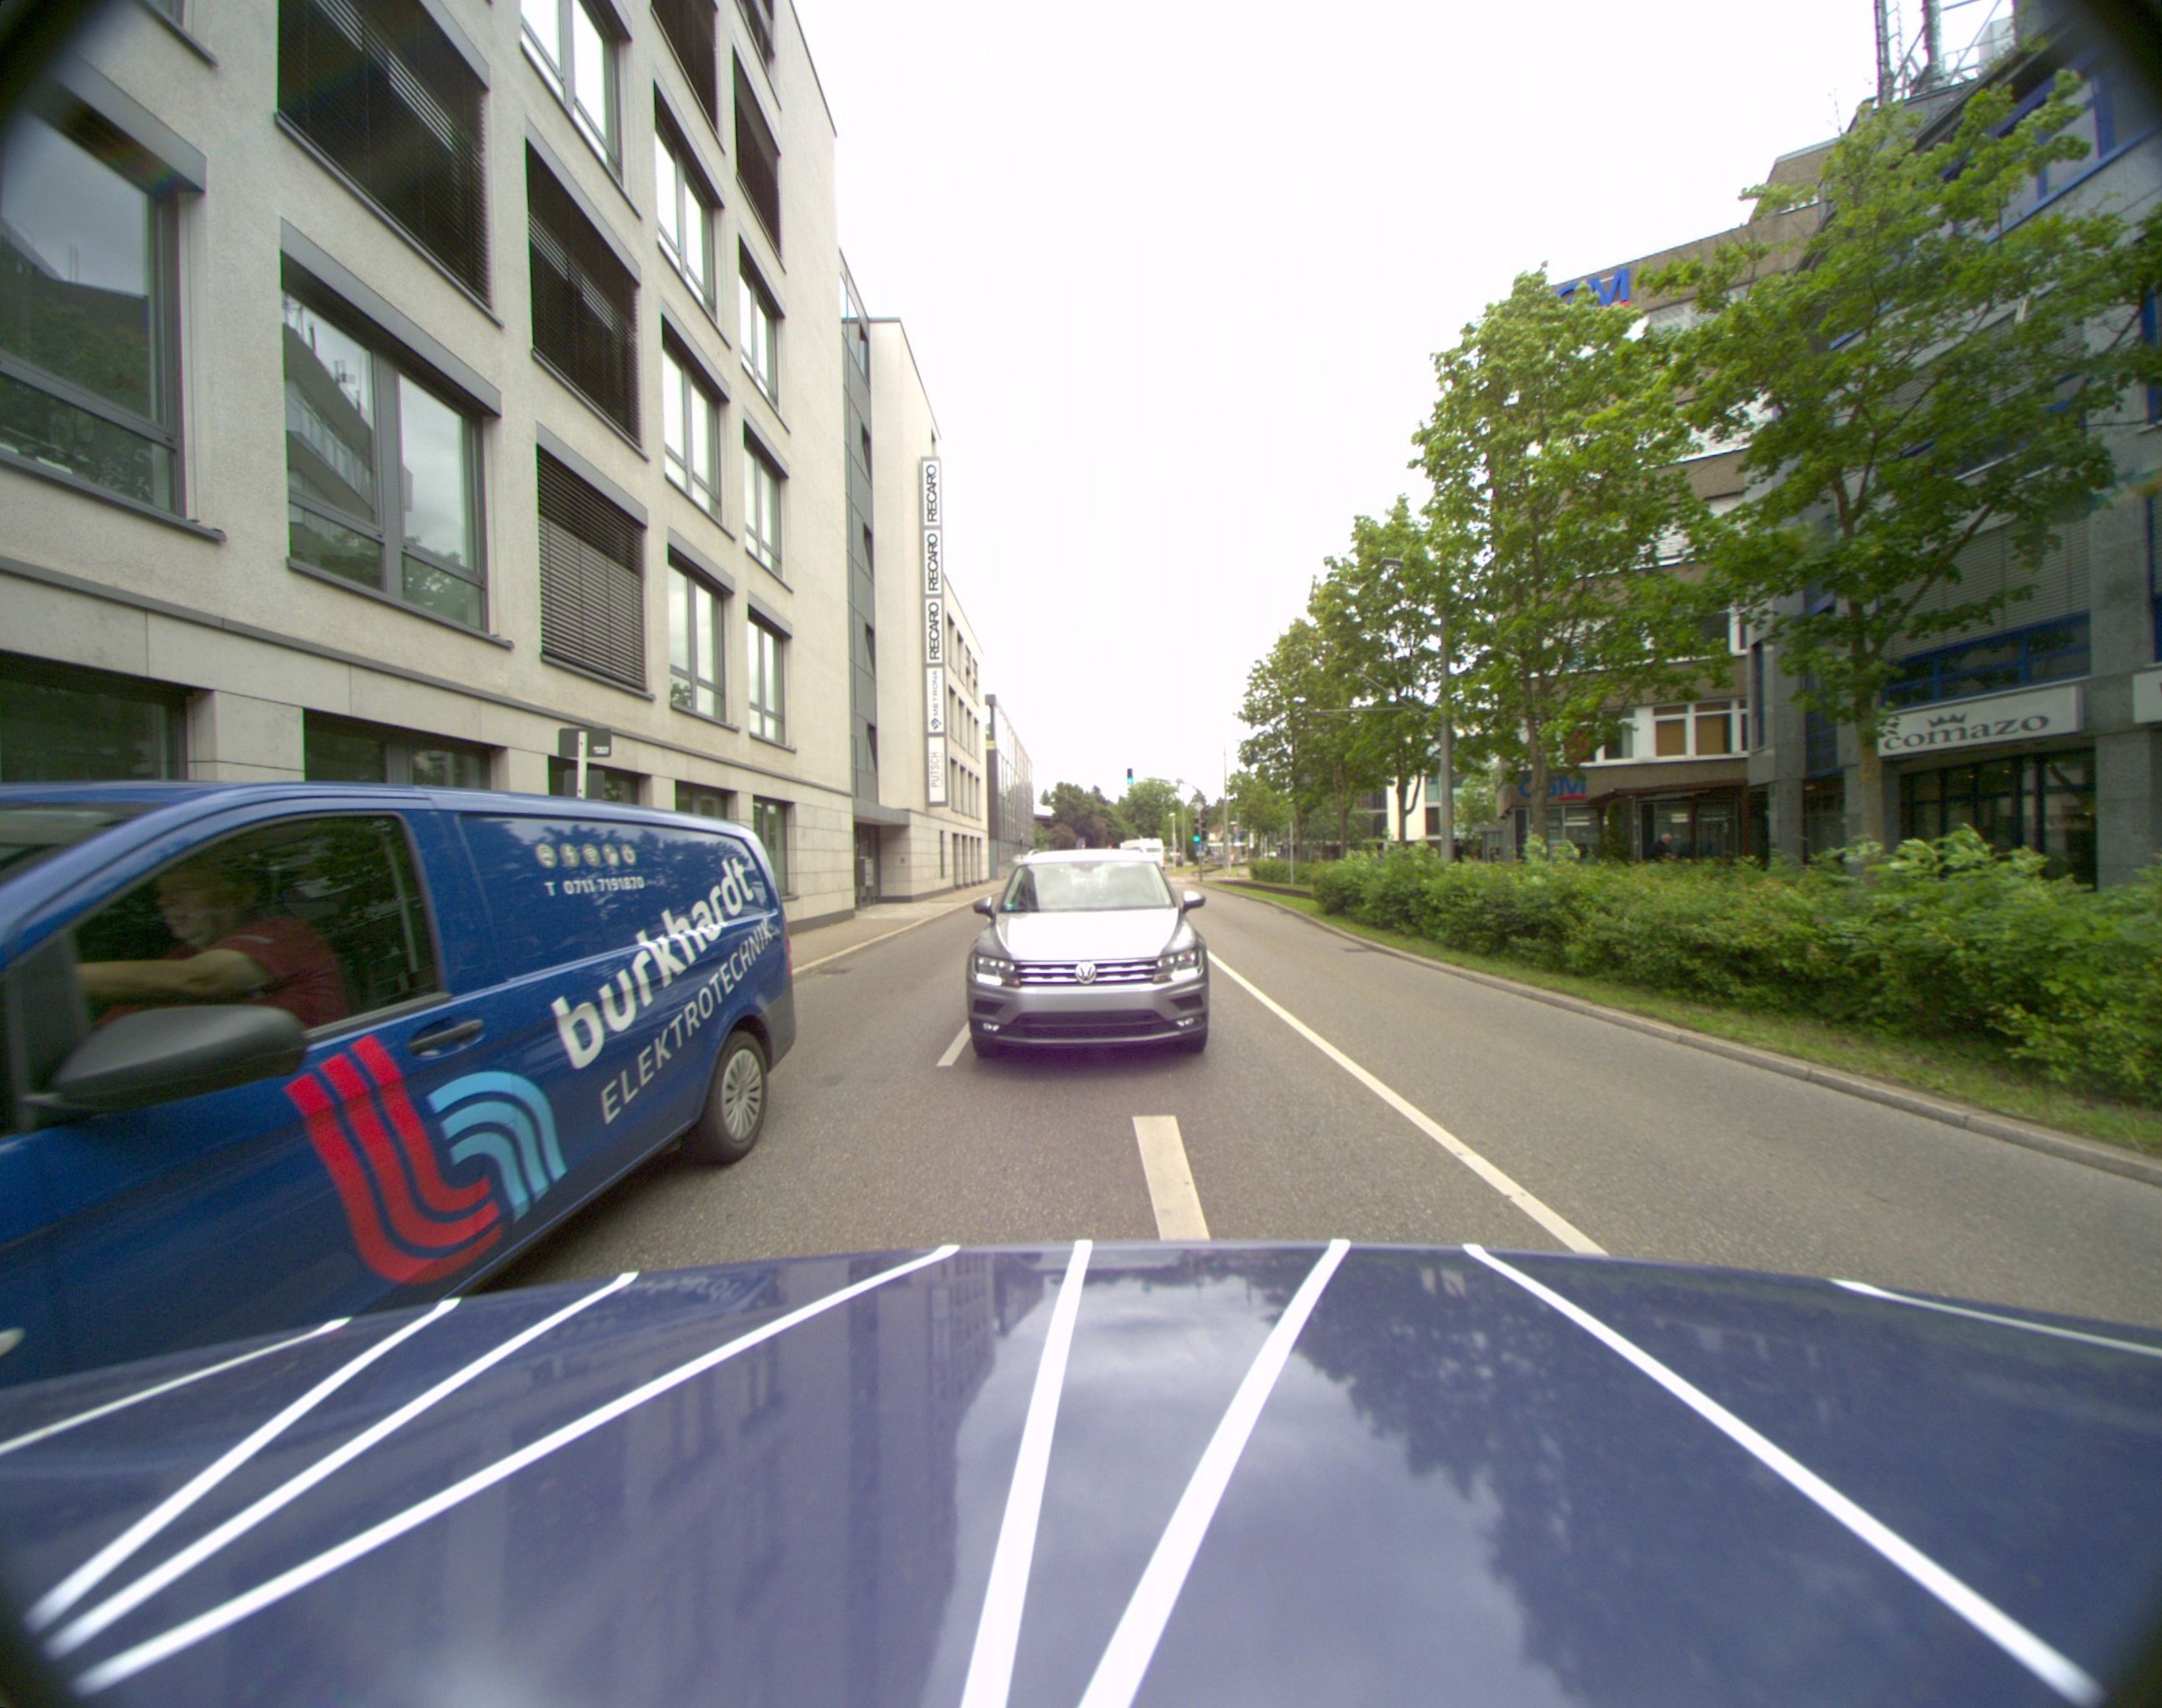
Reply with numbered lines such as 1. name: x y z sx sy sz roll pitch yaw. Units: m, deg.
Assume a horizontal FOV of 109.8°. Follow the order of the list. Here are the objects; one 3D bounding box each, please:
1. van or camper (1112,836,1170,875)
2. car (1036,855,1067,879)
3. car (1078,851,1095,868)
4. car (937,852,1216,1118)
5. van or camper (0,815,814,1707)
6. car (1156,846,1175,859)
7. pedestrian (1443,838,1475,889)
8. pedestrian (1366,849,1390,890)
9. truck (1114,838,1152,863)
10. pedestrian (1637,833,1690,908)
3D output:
1. van or camper: 4.502 0.103 58.337 2.116 2.718 6.142 -2 1 -18
2. car: -1.998 0.906 53.221 1.890 1.483 4.000 -4 0 1
3. car: 0.732 0.730 96.119 1.998 2.002 4.000 -2 1 1
4. car: 0.003 0.858 7.223 1.798 1.716 4.458 -1 0 1
5. van or camper: -2.696 0.900 2.332 1.864 1.900 5.032 -1 0 1
6. car: 14.278 -0.312 127.832 1.995 2.002 4.006 -1 1 24
7. pedestrian: 14.581 0.362 29.315 0.816 1.912 0.731 -2 1 0
8. pedestrian: 13.143 0.680 33.630 0.680 1.795 0.731 -2 1 -4
9. truck: 8.051 -0.555 116.951 2.317 3.626 8.024 -1 1 31
10. pedestrian: 15.072 0.412 19.671 0.776 1.883 0.731 -2 1 0
